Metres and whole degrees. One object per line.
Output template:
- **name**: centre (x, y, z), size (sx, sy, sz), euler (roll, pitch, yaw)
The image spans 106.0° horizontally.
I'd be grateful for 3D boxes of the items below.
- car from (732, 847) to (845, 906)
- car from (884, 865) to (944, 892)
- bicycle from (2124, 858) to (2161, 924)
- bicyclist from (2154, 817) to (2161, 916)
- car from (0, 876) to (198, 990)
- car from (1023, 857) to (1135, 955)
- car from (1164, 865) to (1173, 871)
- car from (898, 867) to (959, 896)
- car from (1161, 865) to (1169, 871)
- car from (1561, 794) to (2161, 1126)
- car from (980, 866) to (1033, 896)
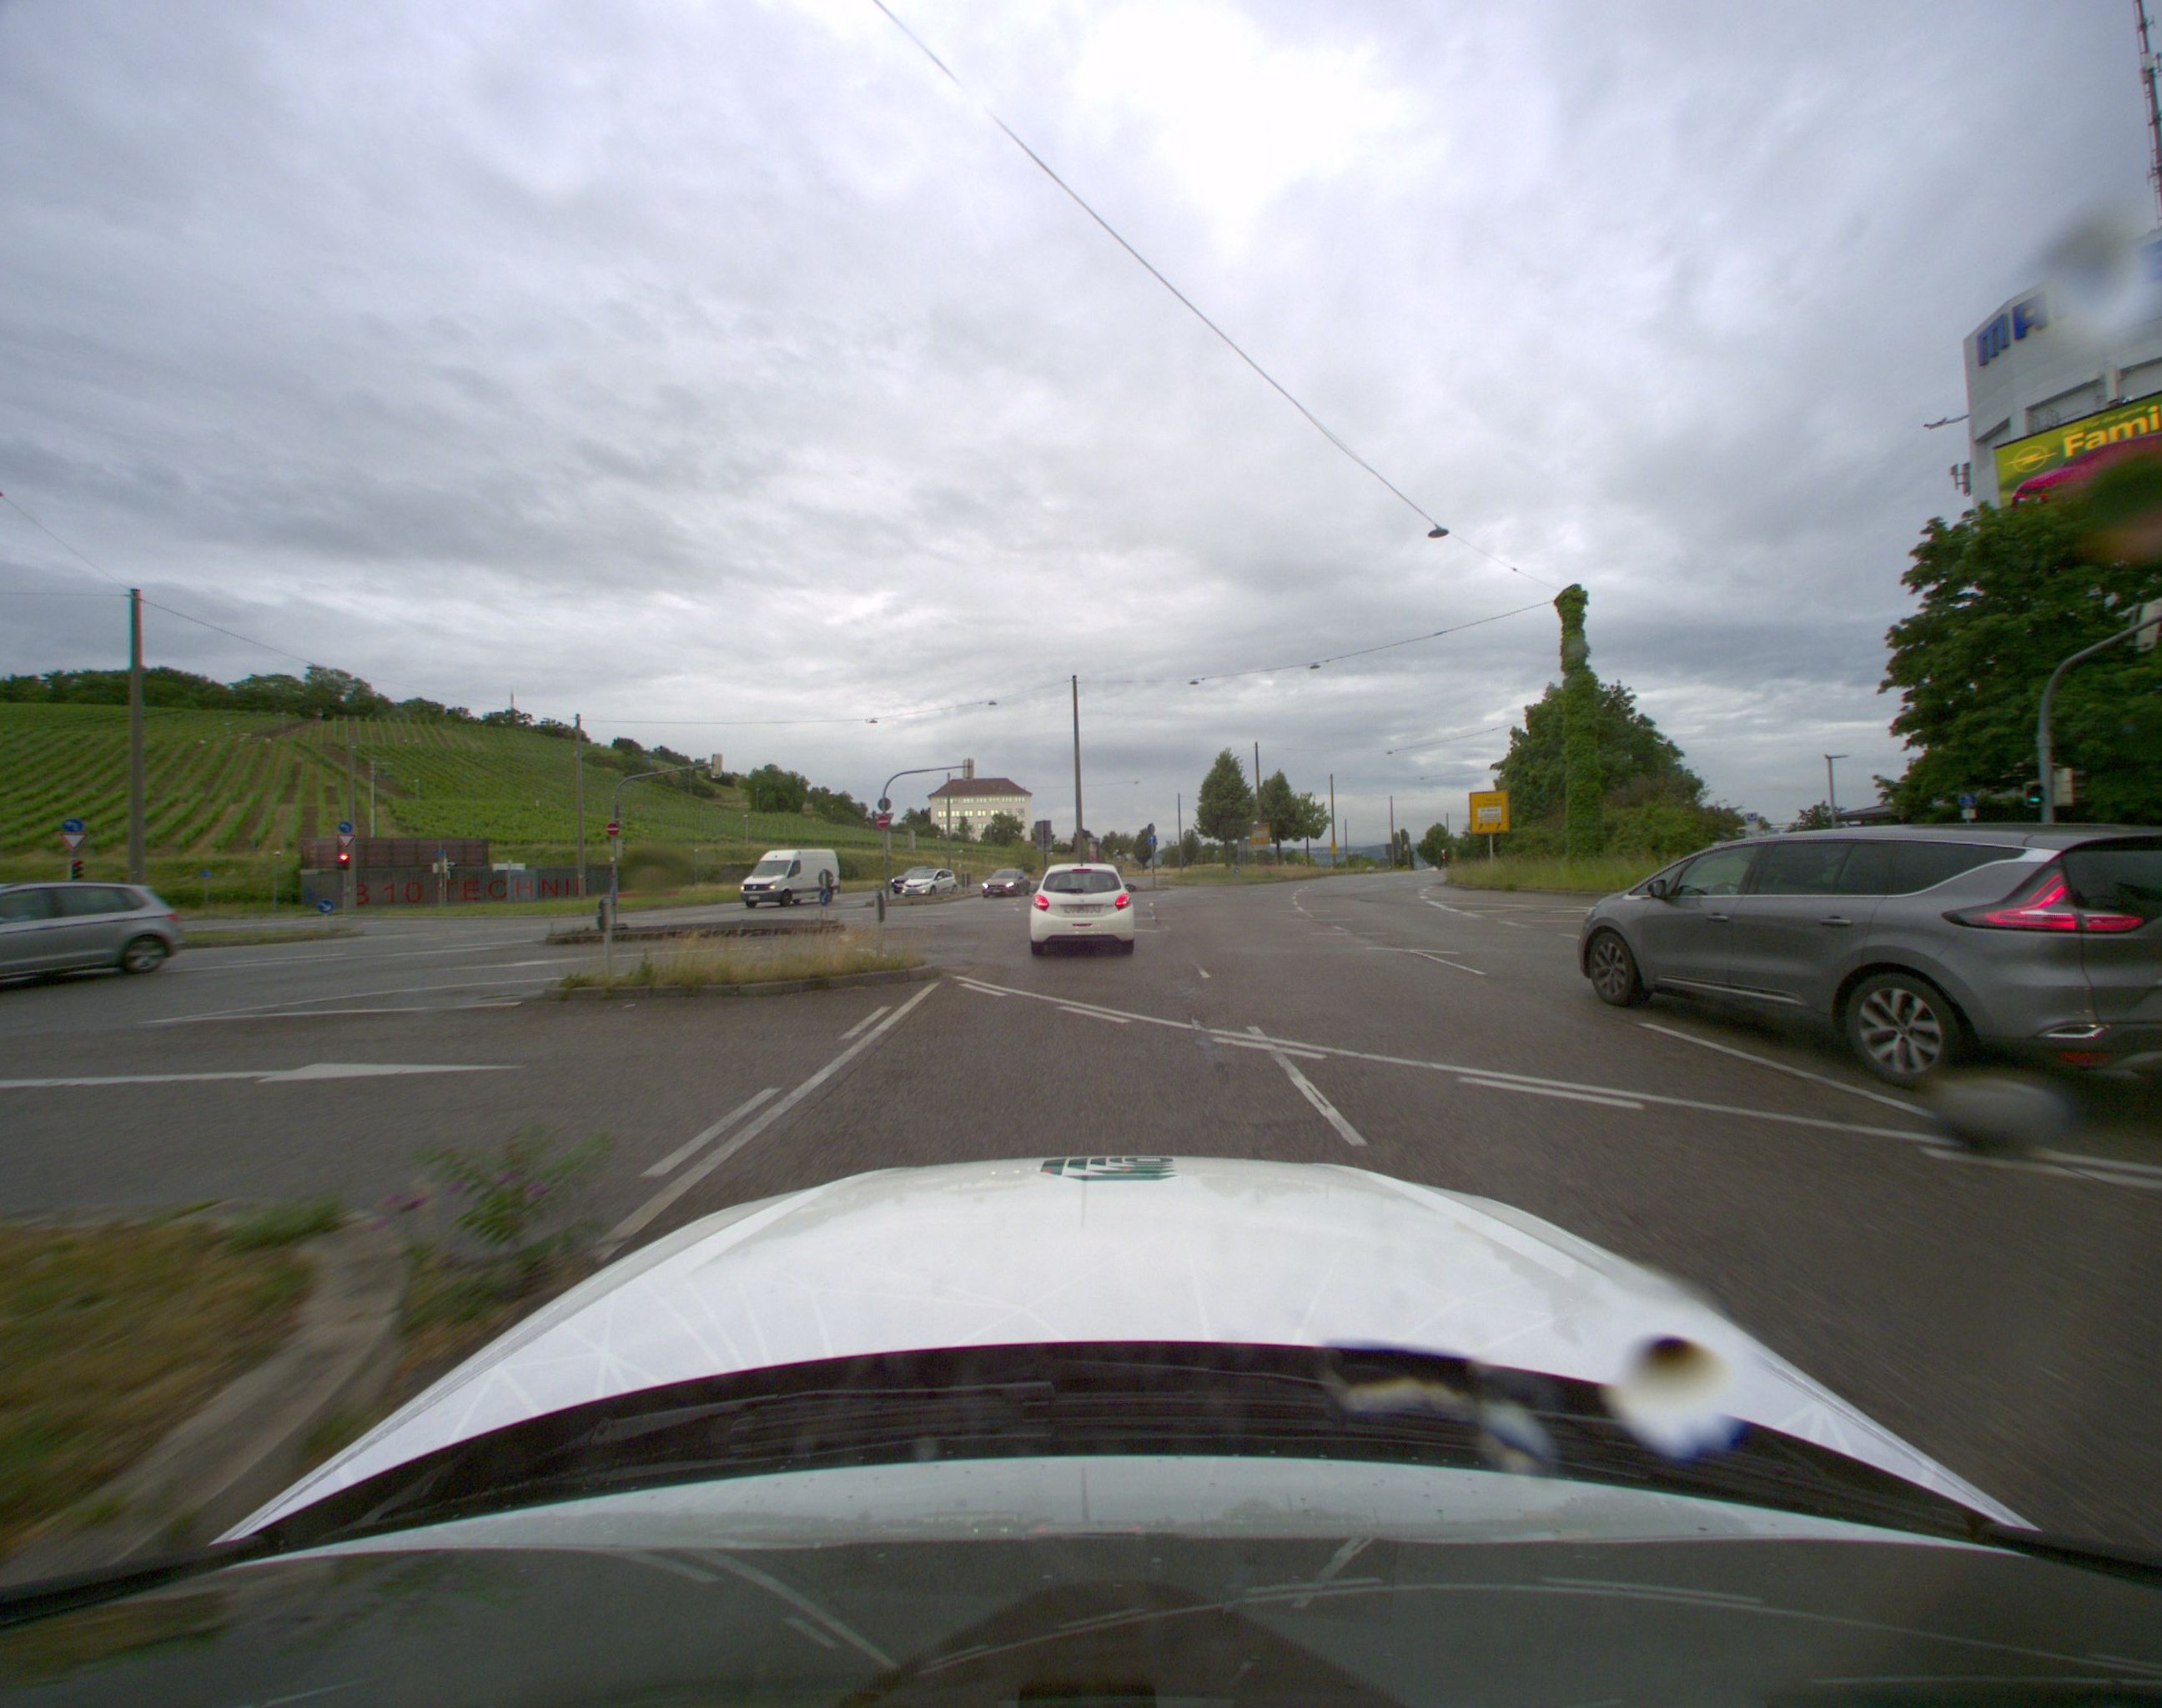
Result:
- **car**: centre (-13.659, 0.997, 38.604), size (1.980, 2.559, 6.191), euler (0, -1, 13)
- **car**: centre (-10.420, 1.515, 51.169), size (1.762, 1.636, 4.527), euler (0, -1, 15)
- **bicycle**: centre (17.435, 0.582, 12.560), size (0.801, 1.023, 2.343), euler (-3, -1, 30)
- **bicyclist**: centre (17.427, 0.192, 12.493), size (0.801, 1.584, 1.029), euler (-1, -1, 30)
- **car**: centre (-16.322, 1.205, 12.014), size (1.988, 1.575, 4.193), euler (-3, -1, -1)
- **car**: centre (0.085, 0.826, 14.613), size (1.710, 1.489, 4.003), euler (-1, -1, 3)
- **car**: centre (23.201, 3.666, 216.411), size (1.835, 1.486, 4.001), euler (-2, 0, 1)
- **car**: centre (-8.377, 1.477, 45.142), size (1.738, 1.513, 4.015), euler (0, -1, 15)
- **car**: centre (23.052, 3.768, 224.815), size (1.835, 1.486, 4.001), euler (-2, 0, 1)
- **car**: centre (6.001, 0.542, 6.406), size (1.858, 1.674, 4.567), euler (-1, 0, 2)
- **car**: centre (-3.841, 1.357, 42.810), size (1.766, 1.425, 4.384), euler (-2, -1, 8)
